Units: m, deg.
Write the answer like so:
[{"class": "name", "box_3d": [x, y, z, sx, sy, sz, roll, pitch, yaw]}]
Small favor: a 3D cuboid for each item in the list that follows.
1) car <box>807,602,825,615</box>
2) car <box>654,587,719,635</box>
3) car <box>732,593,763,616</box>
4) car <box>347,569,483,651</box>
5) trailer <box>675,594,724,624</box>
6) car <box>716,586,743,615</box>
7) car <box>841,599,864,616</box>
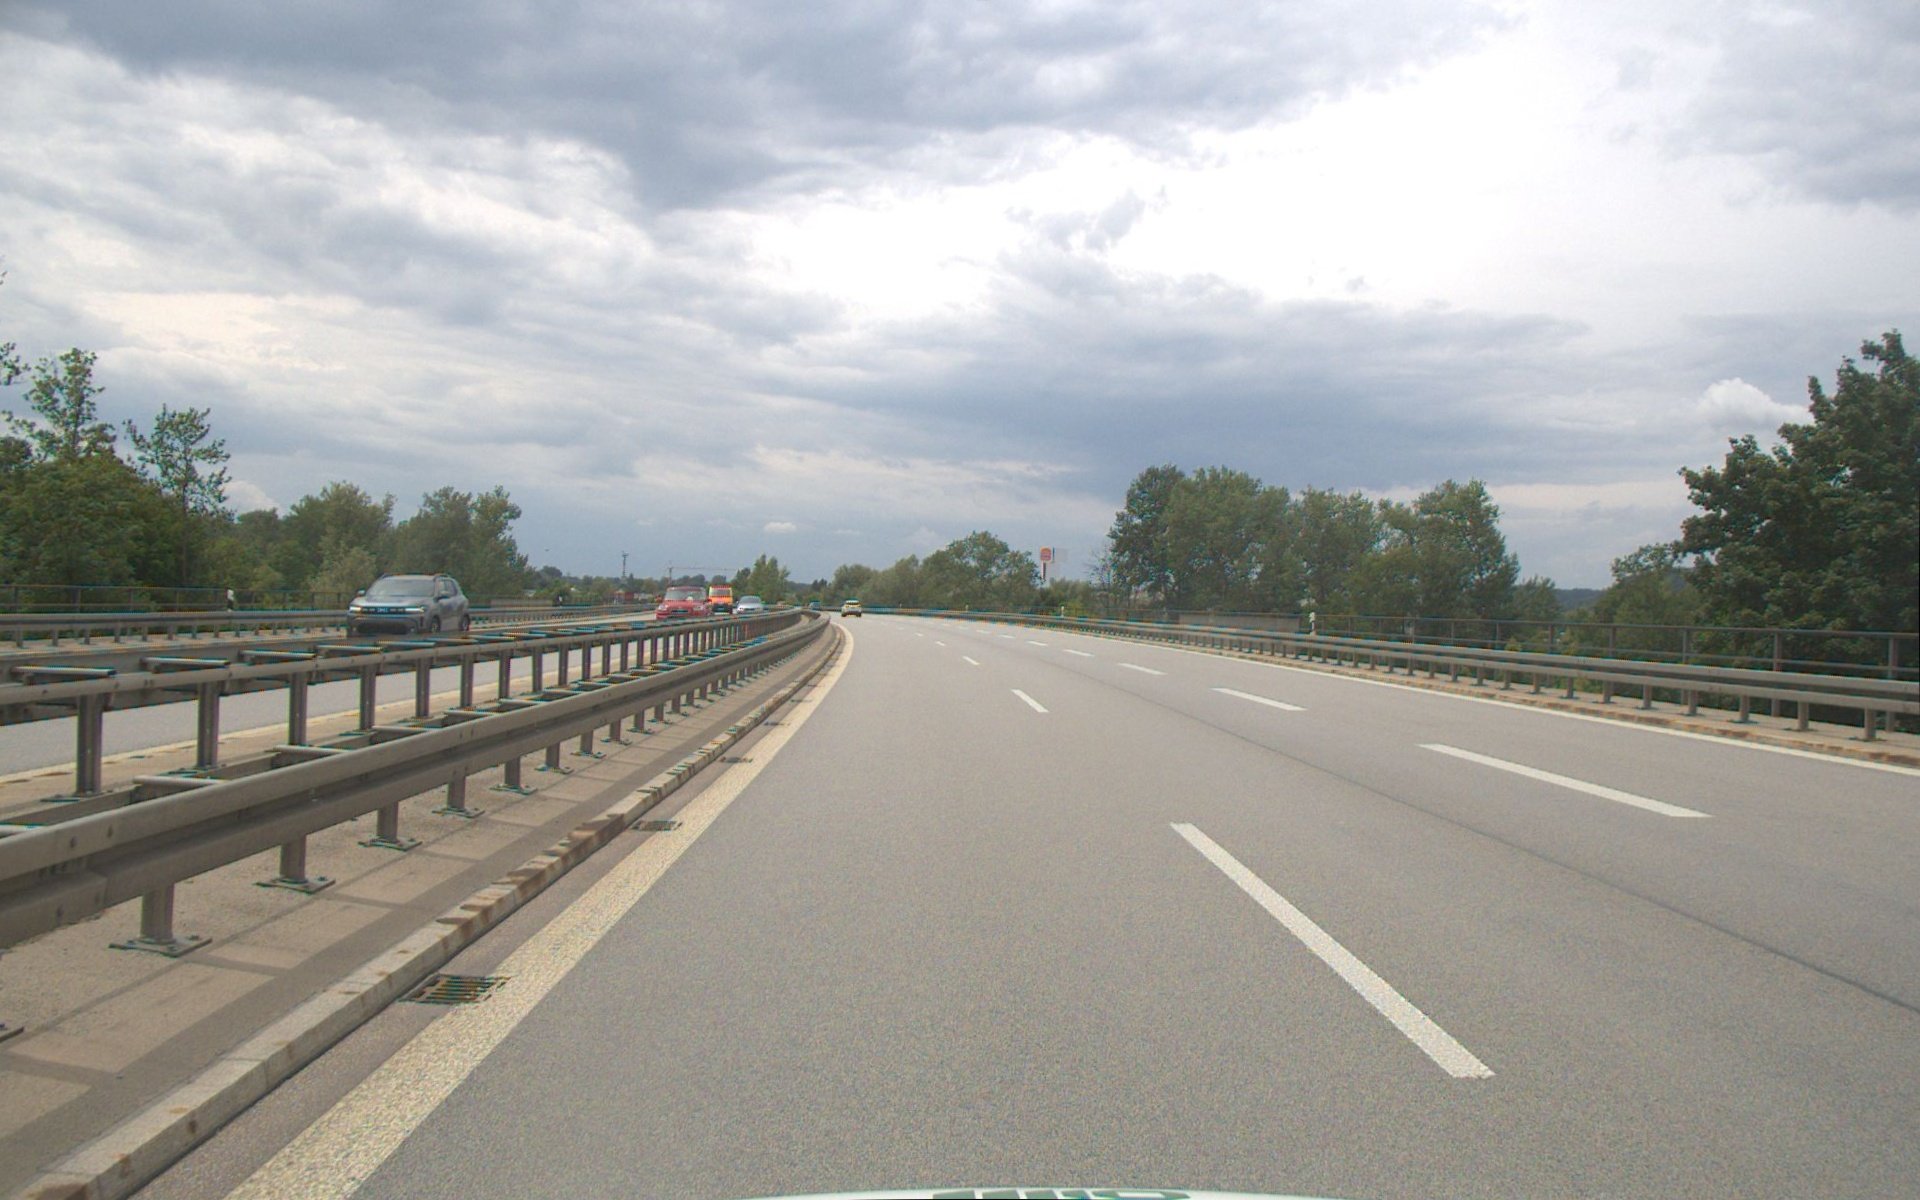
[{"class": "car", "box_3d": [-18.837, 1.126, 216.397, 1.858, 1.668, 4.609, 1, 0, -11]}, {"class": "car", "box_3d": [-9.970, 0.392, 60.560, 1.776, 1.669, 4.566, 1, 0, -3]}, {"class": "car", "box_3d": [-14.403, 0.274, 112.285, 1.694, 1.430, 4.247, 4, 0, -3]}, {"class": "car", "box_3d": [-11.996, 0.203, 36.704, 1.676, 1.669, 4.566, 1, 0, -3]}, {"class": "trailer", "box_3d": [-10.135, 0.342, 64.582, 1.528, 1.144, 3.448, 0, 0, -3]}, {"class": "car", "box_3d": [-19.081, 0.025, 137.089, 1.955, 2.333, 6.390, 1, 0, -6]}, {"class": "car", "box_3d": [-11.219, 0.776, 172.372, 1.868, 1.668, 4.383, 1, -1, -11]}]
